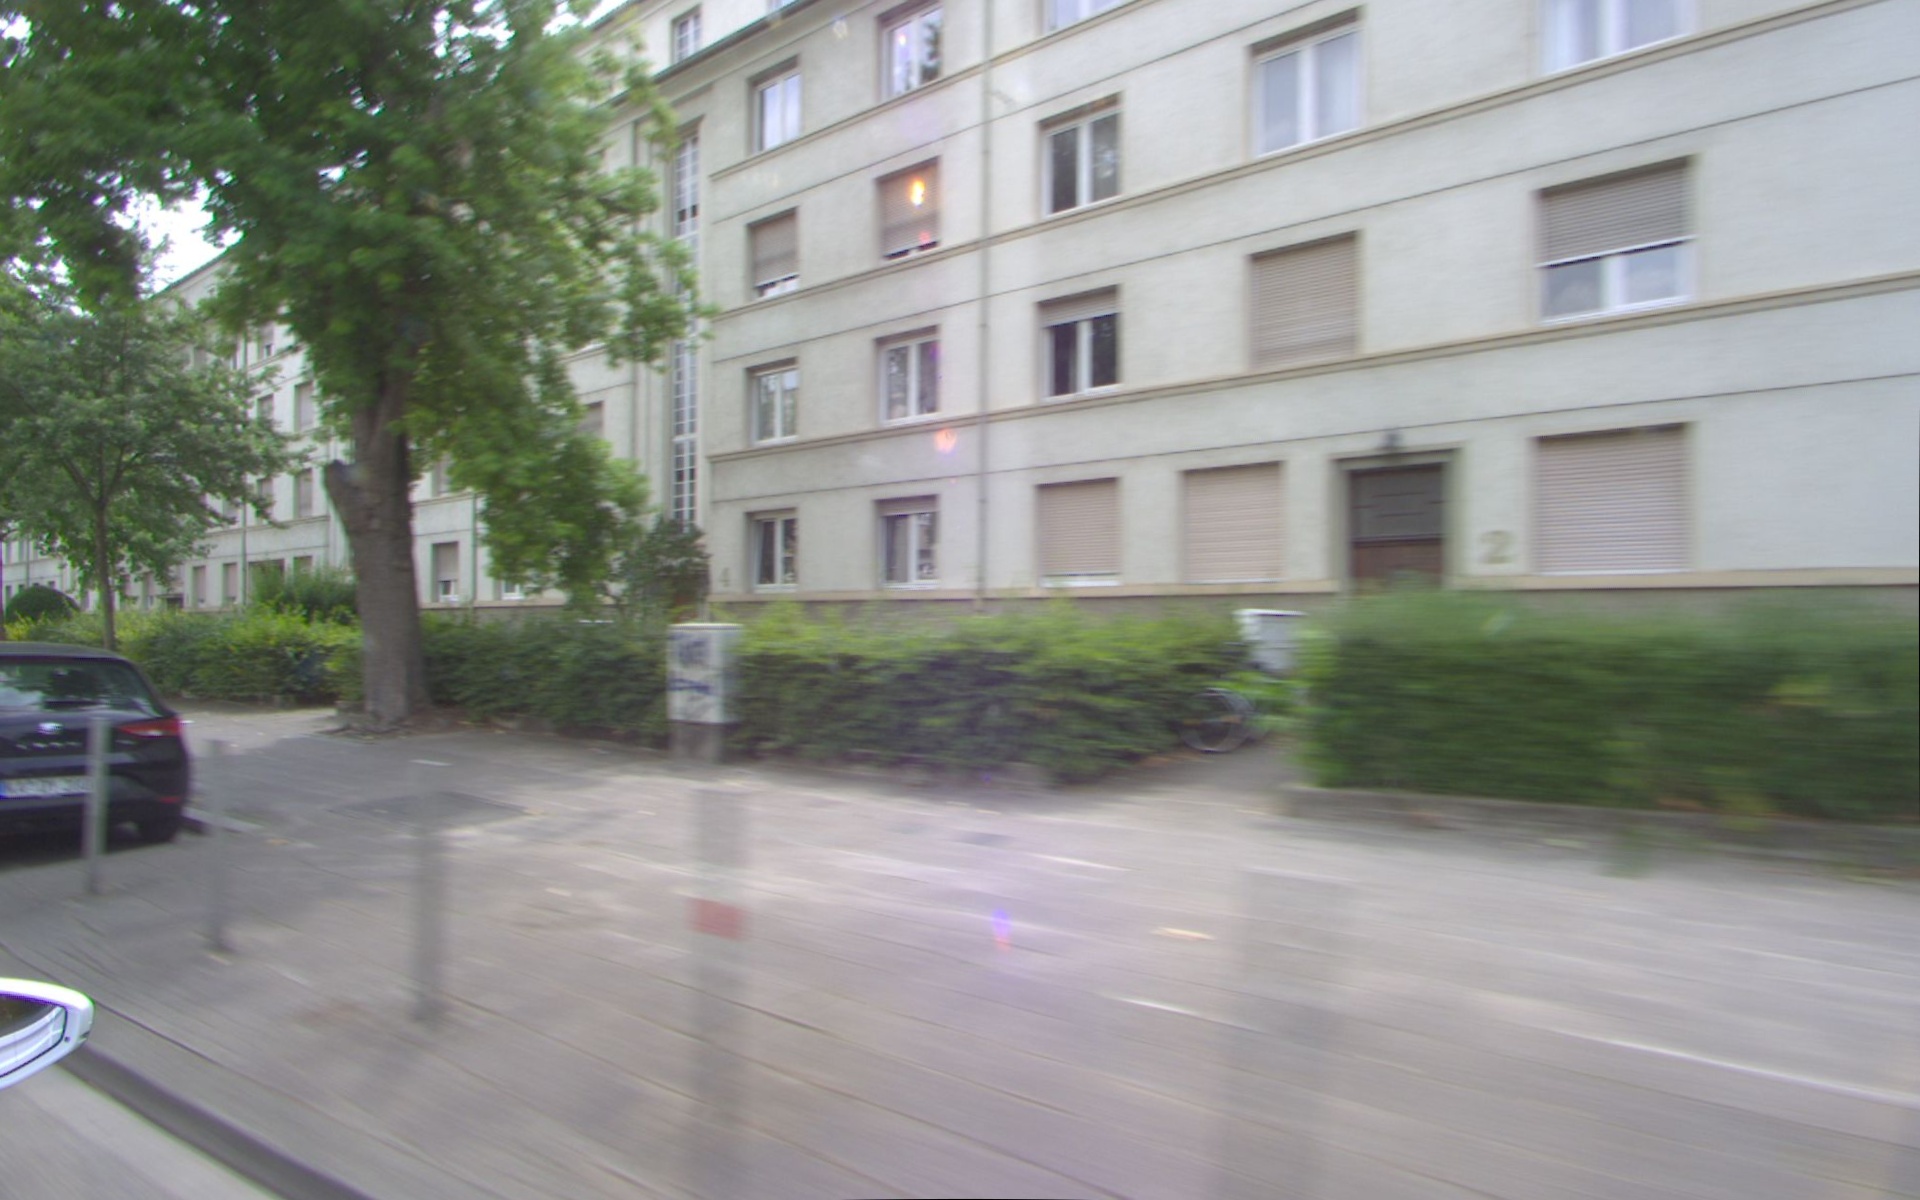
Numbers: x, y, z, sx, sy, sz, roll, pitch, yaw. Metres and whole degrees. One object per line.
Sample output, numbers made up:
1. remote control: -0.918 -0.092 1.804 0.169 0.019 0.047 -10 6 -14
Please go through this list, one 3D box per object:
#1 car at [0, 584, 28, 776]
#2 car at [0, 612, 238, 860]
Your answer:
1. car: -11.775 0.791 10.721 4.787 1.888 1.911 -1 -3 39
2. car: -7.183 0.854 7.408 4.187 1.462 1.911 -1 -3 39
